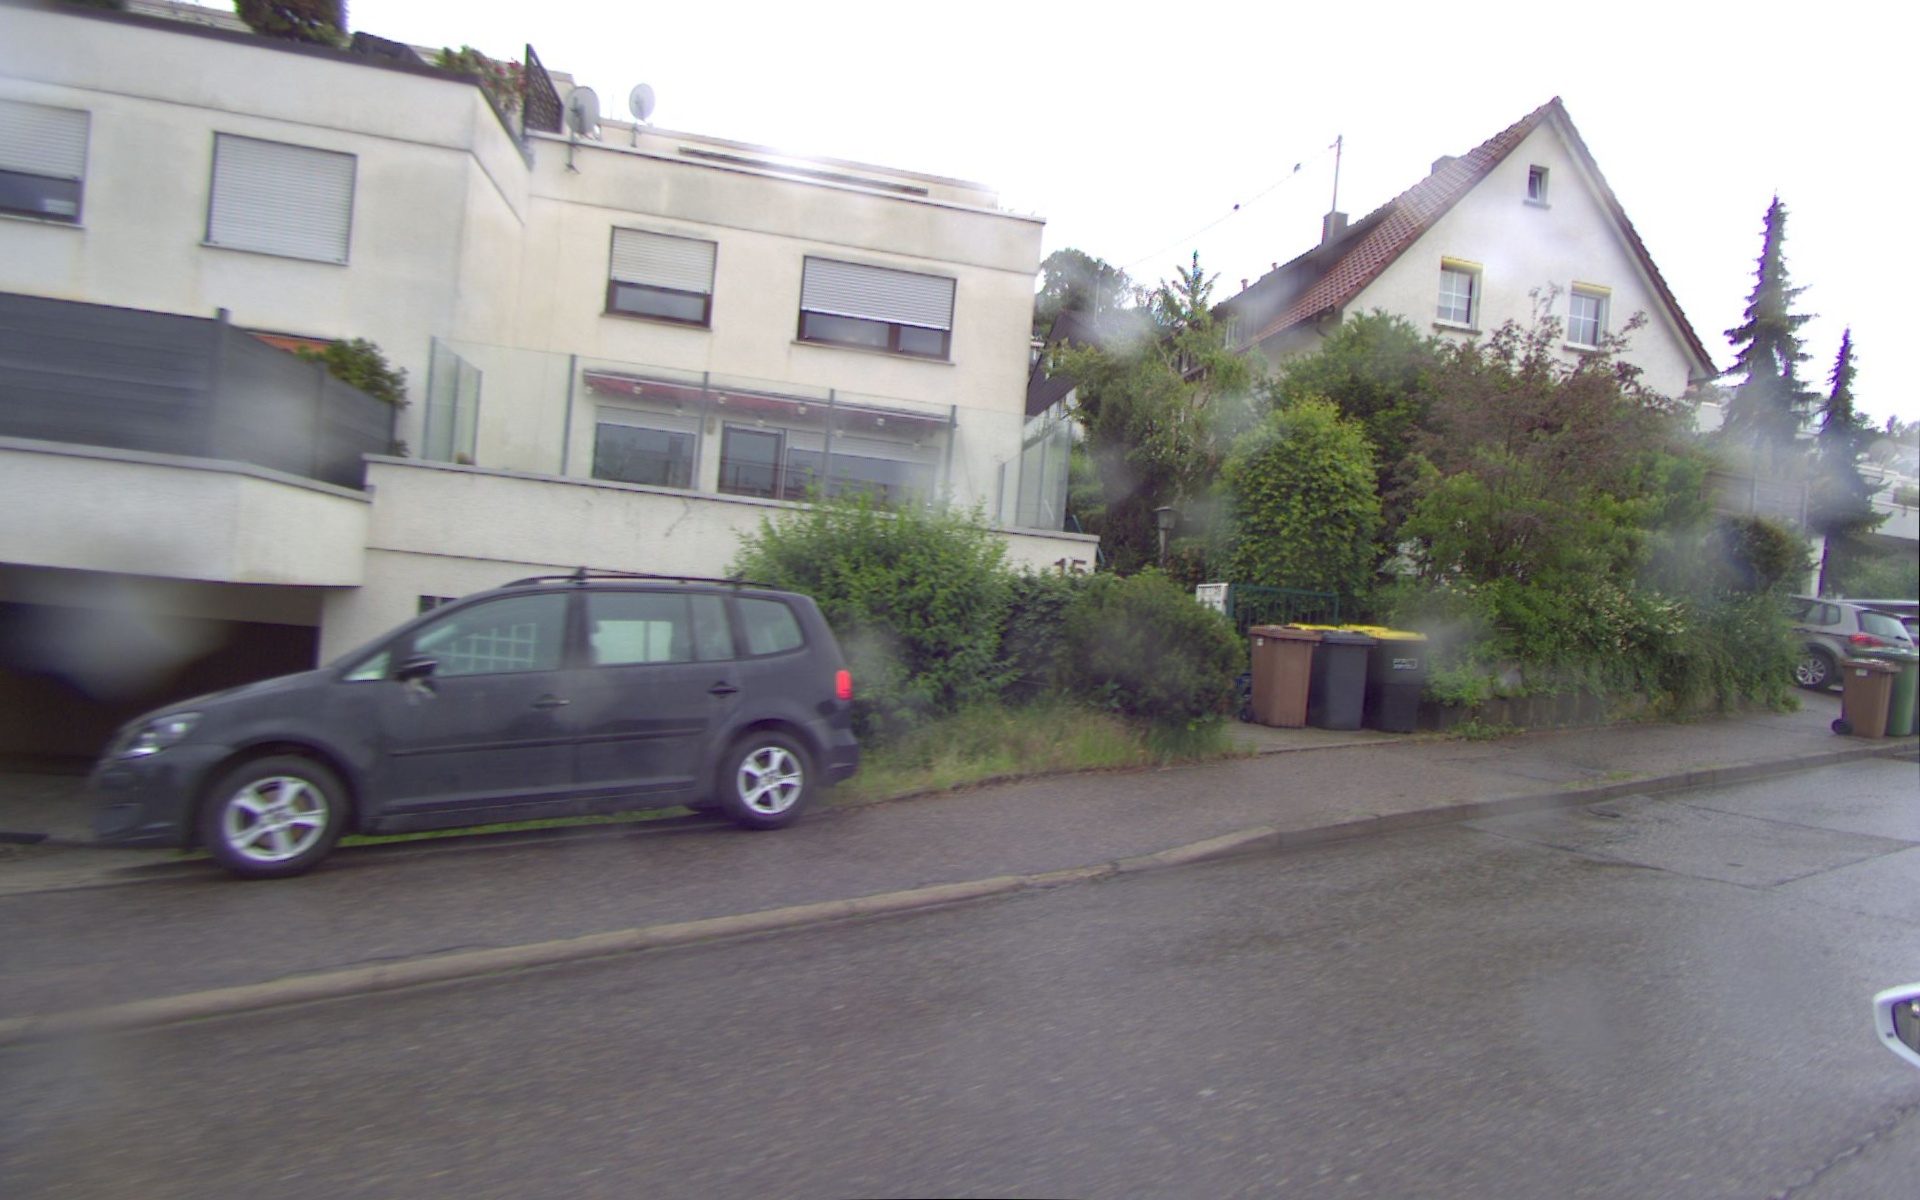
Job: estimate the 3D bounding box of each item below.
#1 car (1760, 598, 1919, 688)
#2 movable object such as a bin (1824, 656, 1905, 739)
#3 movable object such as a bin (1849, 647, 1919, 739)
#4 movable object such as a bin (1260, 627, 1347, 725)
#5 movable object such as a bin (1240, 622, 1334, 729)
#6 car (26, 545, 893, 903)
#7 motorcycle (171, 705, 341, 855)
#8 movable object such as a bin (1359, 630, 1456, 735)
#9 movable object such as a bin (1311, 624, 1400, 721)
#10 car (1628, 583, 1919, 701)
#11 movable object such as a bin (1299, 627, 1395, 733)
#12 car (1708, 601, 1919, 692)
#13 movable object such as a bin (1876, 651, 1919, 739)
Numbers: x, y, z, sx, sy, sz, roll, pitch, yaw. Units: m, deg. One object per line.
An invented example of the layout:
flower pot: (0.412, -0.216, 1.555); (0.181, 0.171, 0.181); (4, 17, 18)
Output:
car: (21.917, 0.981, 23.234); (2.105, 1.970, 5.087); (2, -1, -14)
movable object such as a bin: (11.204, 1.195, 12.446); (0.558, 0.941, 0.598); (1, 2, -35)
movable object such as a bin: (11.806, 1.164, 12.765); (0.632, 1.078, 0.598); (1, 2, -35)
movable object such as a bin: (4.005, 0.873, 11.757); (0.697, 1.097, 0.698); (1, 0, -11)
movable object such as a bin: (3.506, 0.801, 10.820); (0.697, 1.097, 0.698); (1, 0, -11)
car: (-2.790, 0.624, 6.458); (4.367, 1.618, 1.794); (2, -1, -31)
motorcycle: (-7.502, 1.872, 10.822); (0.633, 1.268, 1.892); (1, 0, -6)
movable object such as a bin: (4.916, 0.891, 11.064); (0.697, 1.097, 0.698); (1, 0, -11)
movable object such as a bin: (4.677, 0.847, 11.899); (0.697, 1.097, 0.698); (1, 0, -11)
car: (15.212, 0.695, 18.897); (1.863, 1.715, 4.052); (3, 4, -17)
movable object such as a bin: (4.206, 0.856, 10.954); (0.697, 1.097, 0.698); (1, 0, -11)
car: (19.210, 0.960, 22.140); (1.862, 1.660, 4.056); (3, 1, -14)
movable object such as a bin: (12.449, 1.228, 13.083); (0.691, 1.078, 0.598); (1, 2, -35)
